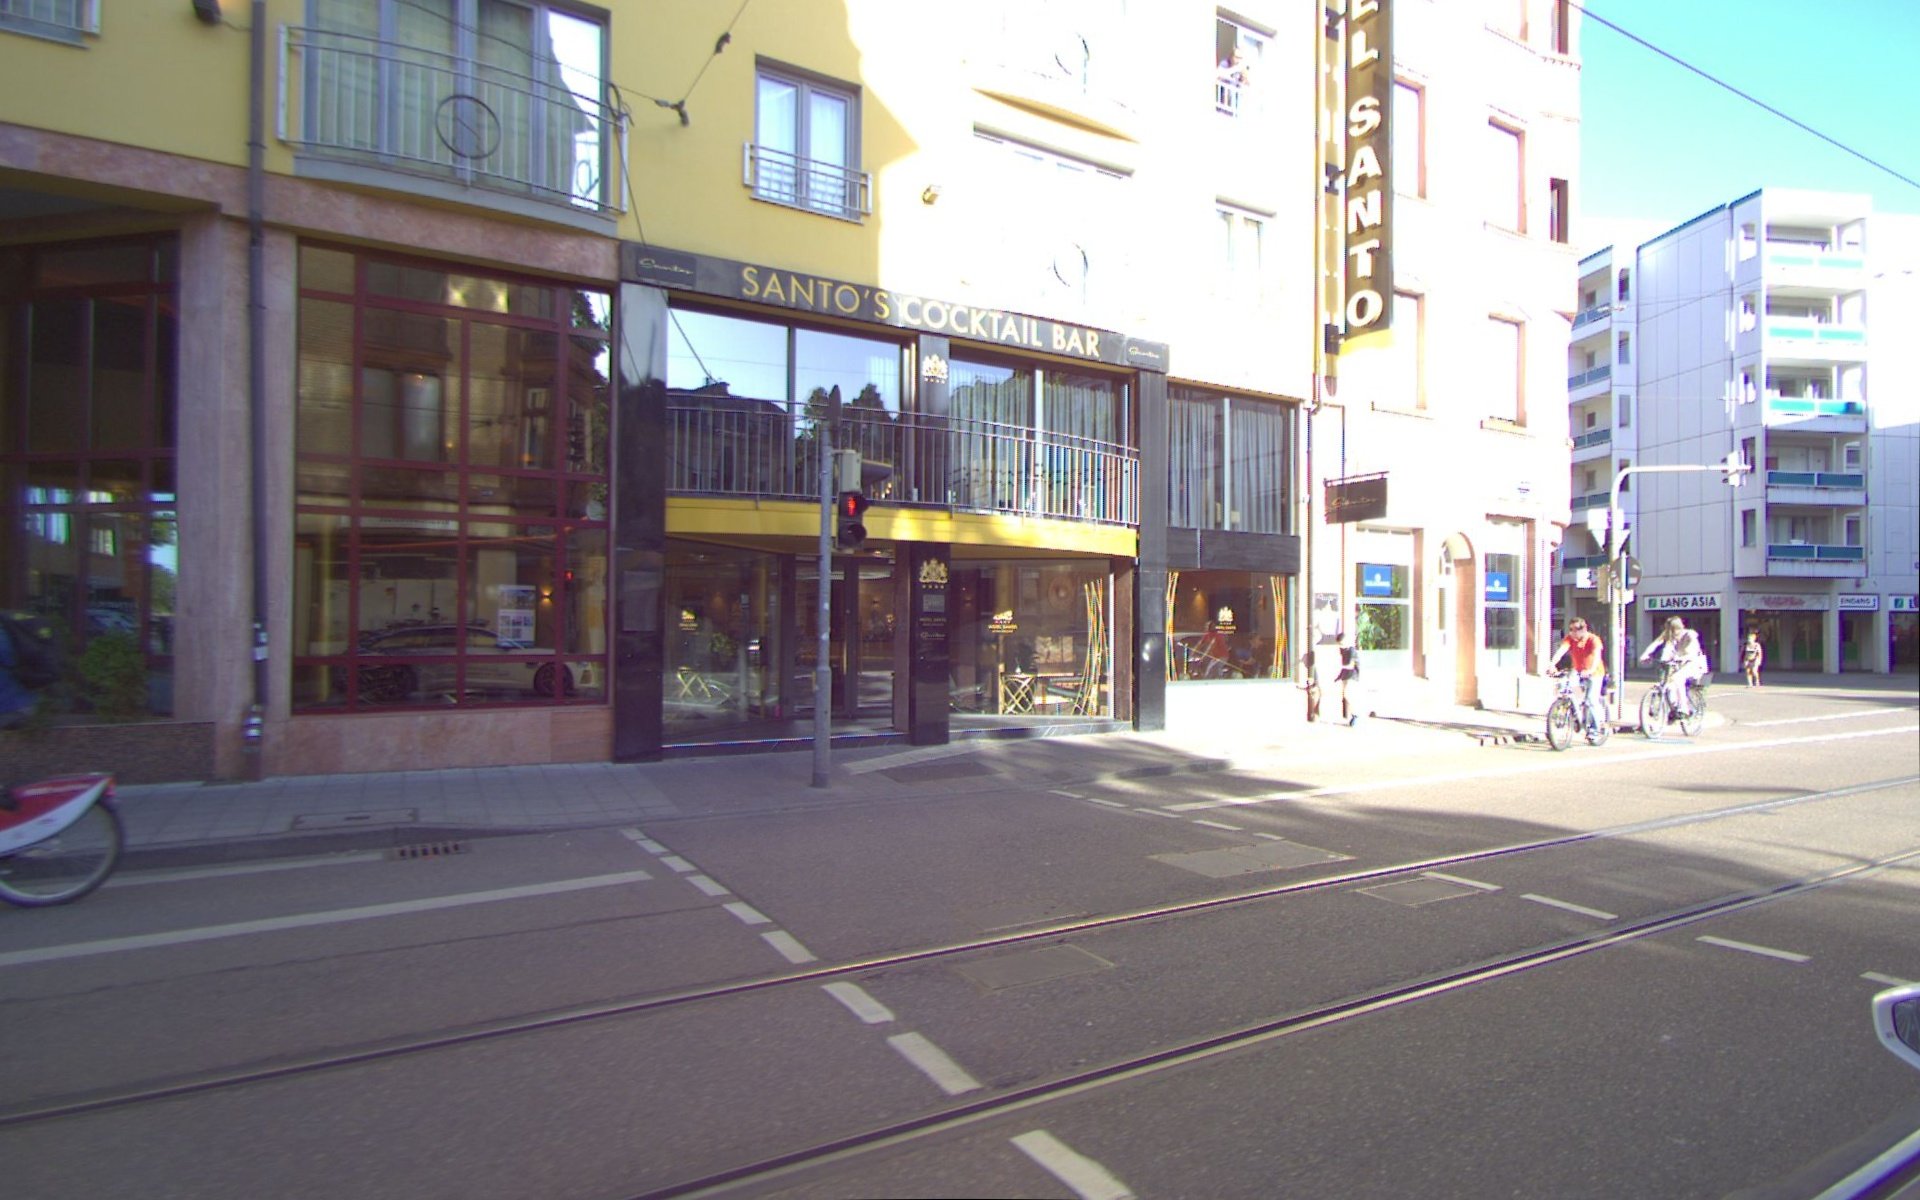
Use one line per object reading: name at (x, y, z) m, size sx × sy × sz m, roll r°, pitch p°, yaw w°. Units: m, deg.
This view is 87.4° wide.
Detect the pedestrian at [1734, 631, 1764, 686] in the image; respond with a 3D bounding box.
pedestrian at (23.004, 1.696, 29.301) m, size 0.510 × 1.572 × 0.540 m, roll 1°, pitch -1°, yaw -31°

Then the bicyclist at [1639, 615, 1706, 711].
bicyclist at (10.637, 0.921, 15.002) m, size 0.671 × 1.394 × 0.587 m, roll 1°, pitch -1°, yaw -31°

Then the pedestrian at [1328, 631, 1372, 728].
pedestrian at (5.864, 1.177, 15.103) m, size 0.510 × 1.429 × 0.402 m, roll 1°, pitch -1°, yaw -31°

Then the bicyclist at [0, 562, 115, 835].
bicyclist at (-5.348, 0.508, 5.317) m, size 1.214 × 1.399 × 0.720 m, roll 1°, pitch -1°, yaw -32°

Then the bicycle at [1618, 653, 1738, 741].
bicycle at (10.720, 1.412, 14.985) m, size 2.038 × 1.199 × 0.727 m, roll 1°, pitch -2°, yaw -32°

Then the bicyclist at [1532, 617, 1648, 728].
bicyclist at (8.375, 0.935, 13.347) m, size 1.452 × 1.399 × 0.731 m, roll 1°, pitch -2°, yaw -32°

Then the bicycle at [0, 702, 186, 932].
bicycle at (-5.404, 1.150, 5.269) m, size 2.038 × 1.102 × 0.727 m, roll 1°, pitch -1°, yaw -32°

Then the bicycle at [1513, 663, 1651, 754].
bicycle at (8.328, 1.406, 13.424) m, size 2.038 × 1.079 × 0.727 m, roll 1°, pitch -2°, yaw -32°
